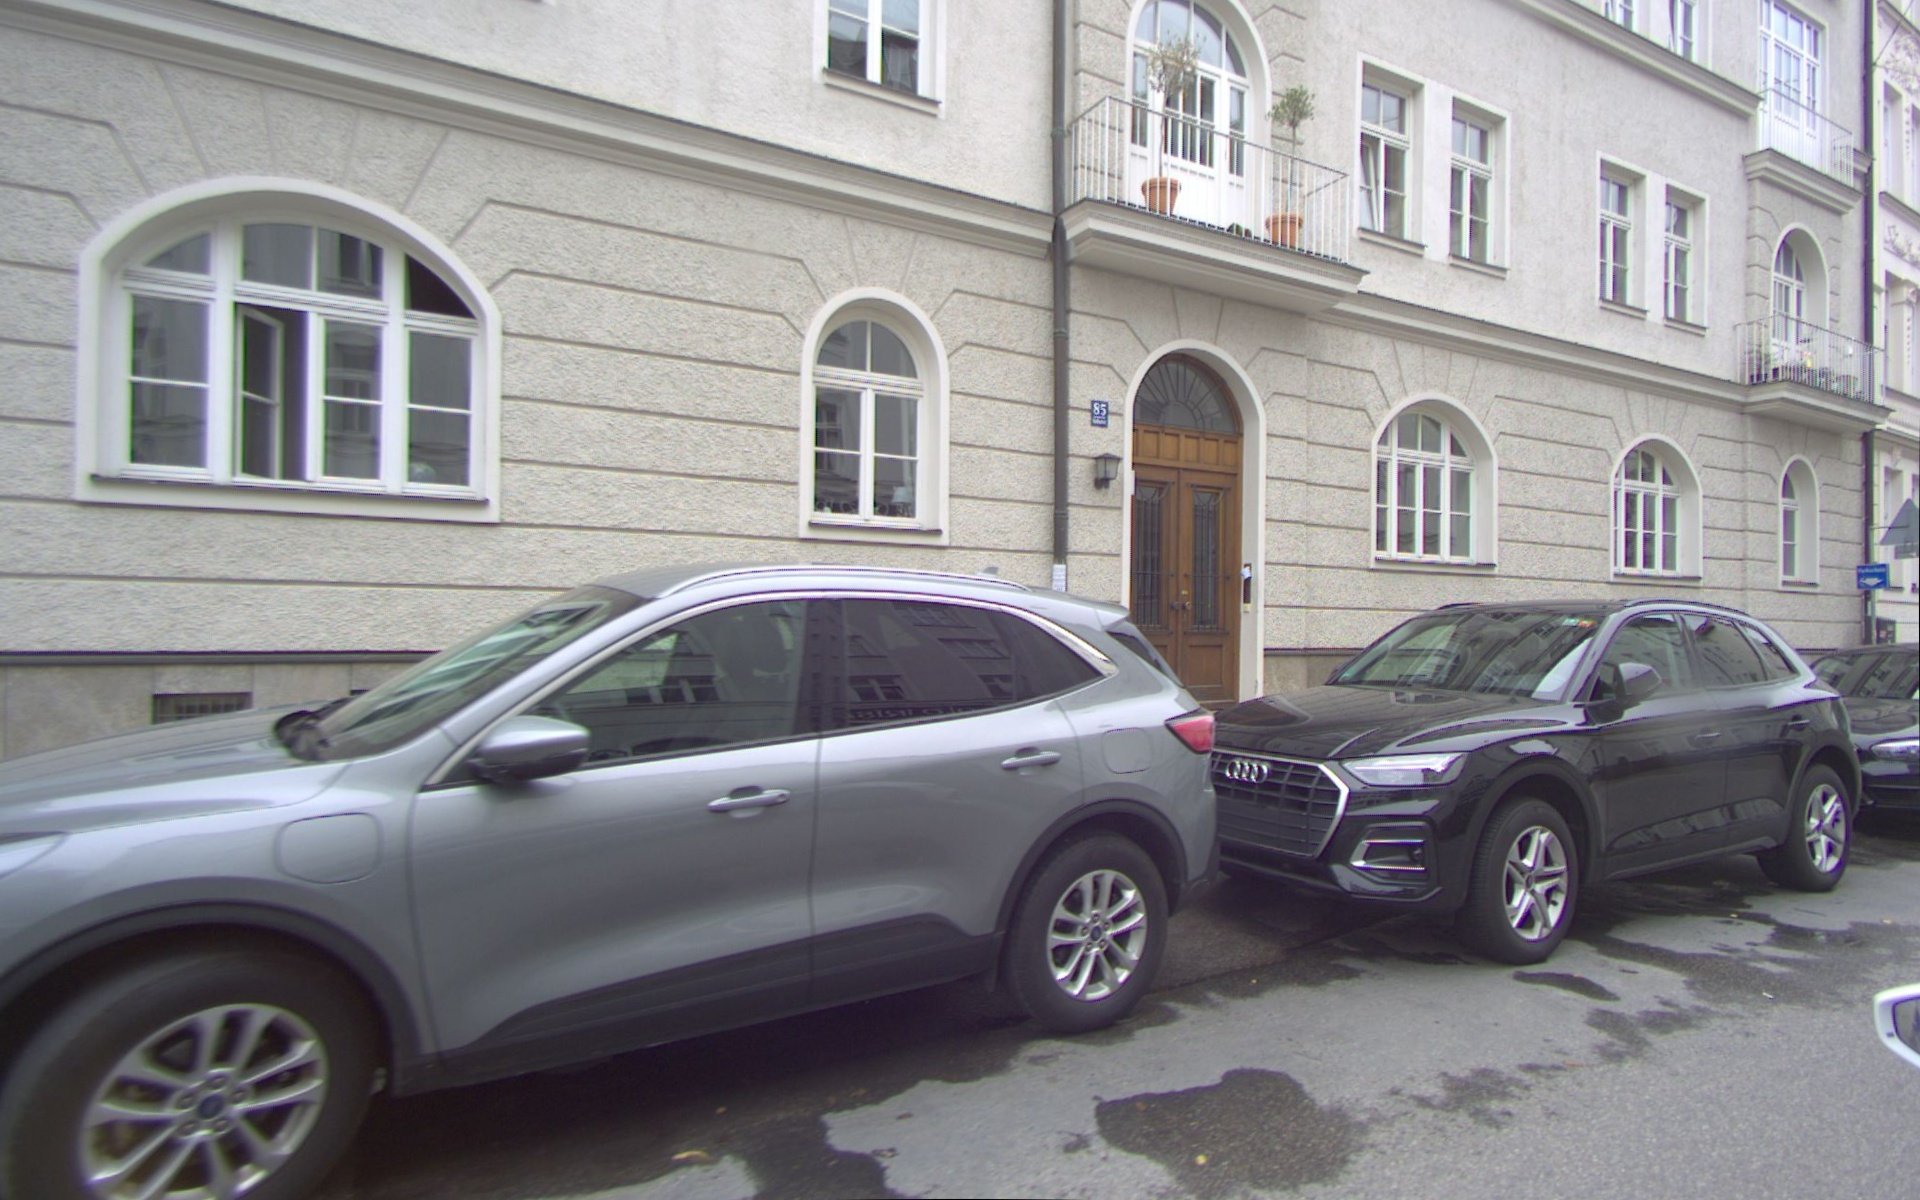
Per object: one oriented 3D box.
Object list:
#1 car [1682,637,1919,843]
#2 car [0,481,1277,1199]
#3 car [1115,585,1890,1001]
[{"bbox_3d":[8.140,1.040,8.558,4.041,1.425,1.648,1,-2,-29],"label":"car"},{"bbox_3d":[-0.965,0.640,3.739,4.165,1.700,1.827,1,-1,-32],"label":"car"},{"bbox_3d":[3.220,0.795,5.798,4.378,1.621,1.868,1,-1,-29],"label":"car"}]
